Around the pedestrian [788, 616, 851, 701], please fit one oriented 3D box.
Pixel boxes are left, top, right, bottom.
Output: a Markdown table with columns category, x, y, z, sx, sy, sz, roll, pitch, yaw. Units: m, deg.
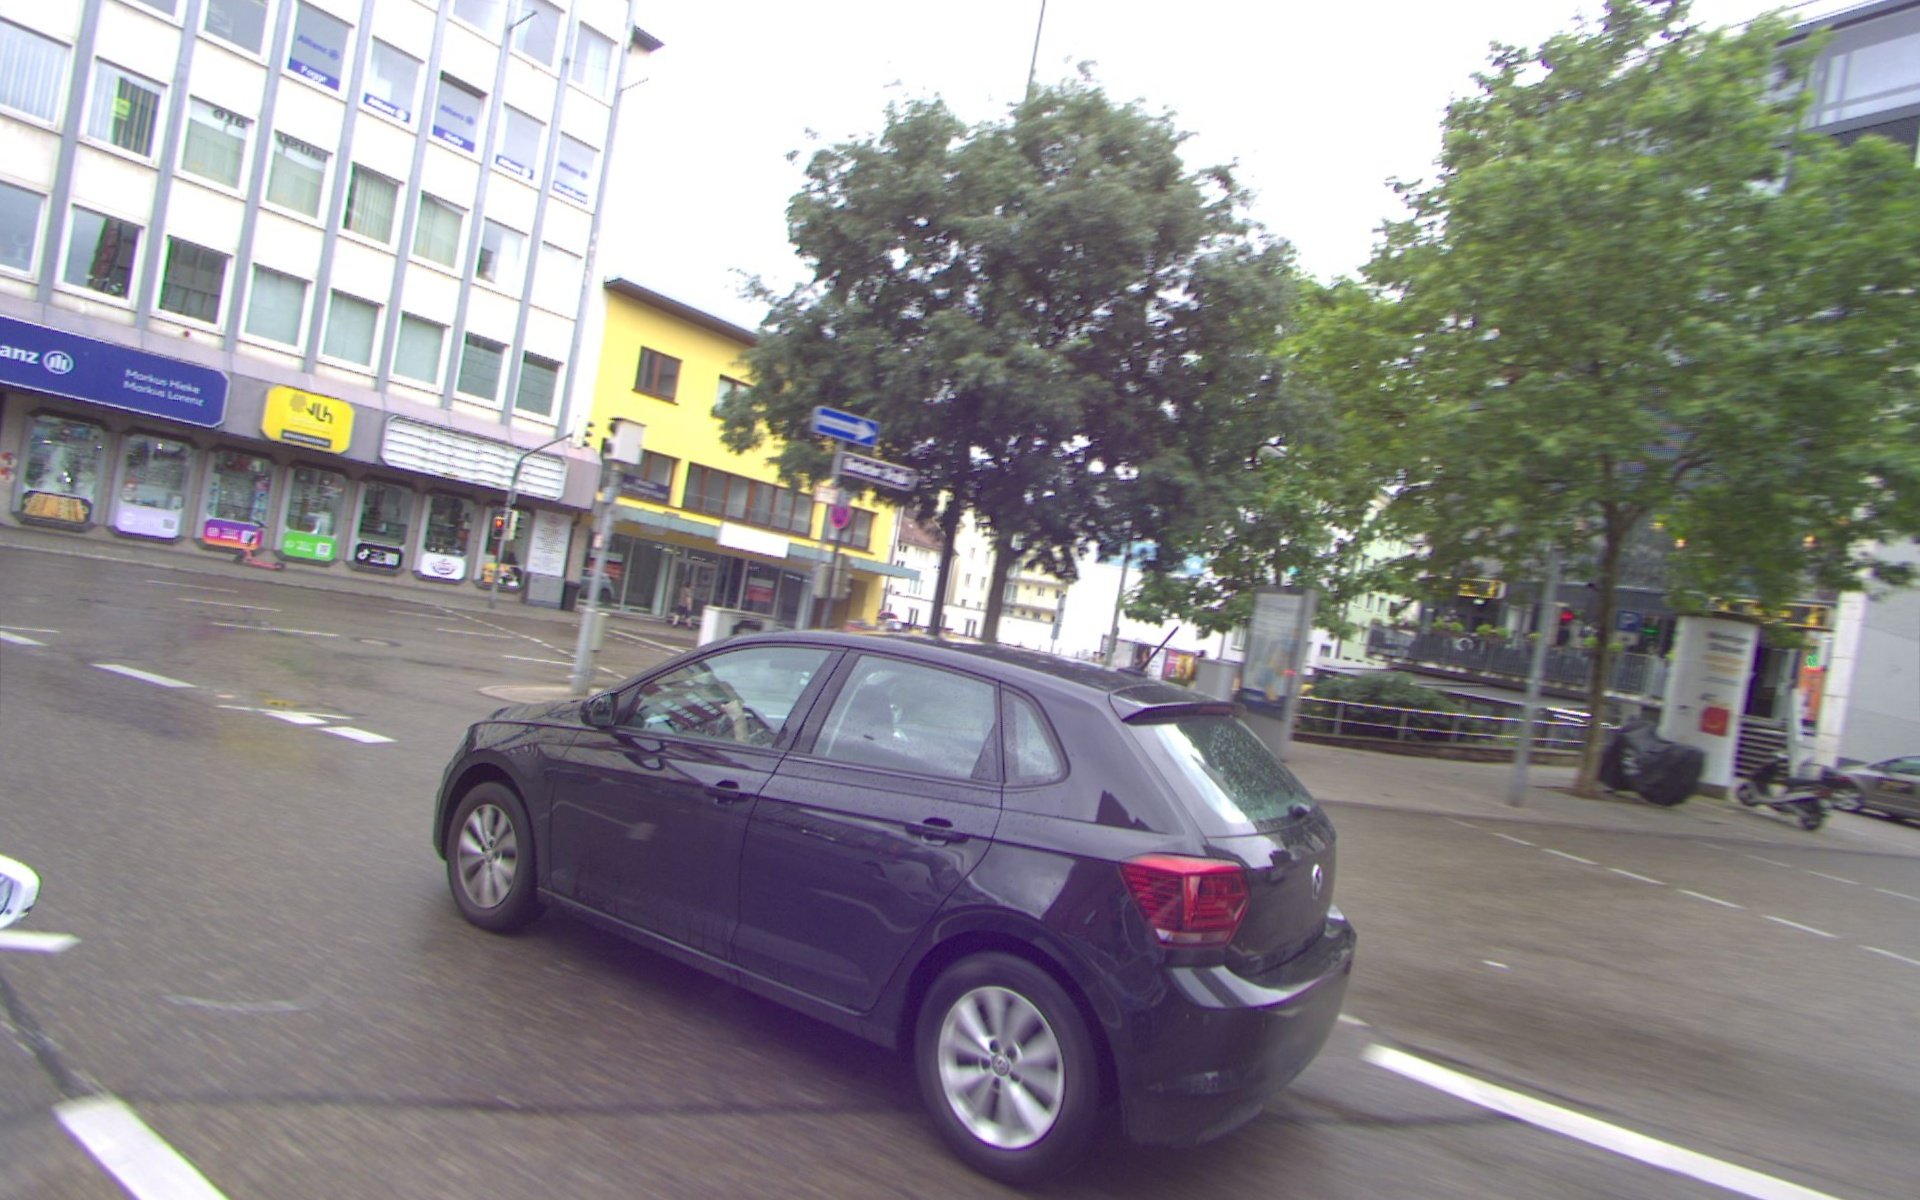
| category | x | y | z | sx | sy | sz | roll | pitch | yaw |
| --- | --- | --- | --- | --- | --- | --- | --- | --- | --- |
| pedestrian | -3.358 | 1.411 | 24.120 | 0.876 | 1.846 | 0.826 | 8 | -3 | 31 |

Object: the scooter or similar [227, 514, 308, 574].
| category | x | y | z | sx | sy | sz | roll | pitch | yaw |
| --- | --- | --- | --- | --- | --- | --- | --- | --- | --- |
| scooter or similar | -18.357 | -1.479 | 26.694 | 0.612 | 1.224 | 1.512 | 13 | 0 | 45 |

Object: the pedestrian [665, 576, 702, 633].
| category | x | y | z | sx | sy | sz | roll | pitch | yaw |
| --- | --- | --- | --- | --- | --- | --- | --- | --- | --- |
| pedestrian | -9.846 | 0.178 | 35.818 | 0.666 | 1.844 | 0.894 | 7 | -6 | 12 |

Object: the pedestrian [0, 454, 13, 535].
| category | x | y | z | sx | sy | sz | roll | pitch | yaw |
| --- | --- | --- | --- | --- | --- | --- | --- | --- | --- |
| pedestrian | -21.829 | -2.434 | 22.222 | 0.817 | 1.709 | 1.030 | 14 | 3 | 37 |

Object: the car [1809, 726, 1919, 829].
| category | x | y | z | sx | sy | sz | roll | pitch | yaw |
| --- | --- | --- | --- | --- | --- | --- | --- | --- | --- |
| car | 19.628 | 3.775 | 19.904 | 1.603 | 1.656 | 3.921 | 9 | 2 | -15 |

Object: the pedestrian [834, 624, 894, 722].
| category | x | y | z | sx | sy | sz | roll | pitch | yaw |
| --- | --- | --- | --- | --- | --- | --- | --- | --- | --- |
| pedestrian | -1.911 | 1.456 | 20.050 | 0.668 | 1.844 | 0.715 | 3 | -7 | 33 |

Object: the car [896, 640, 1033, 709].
| category | x | y | z | sx | sy | sz | roll | pitch | yaw |
| --- | --- | --- | --- | --- | --- | --- | --- | --- | --- |
| car | 0.199 | 2.380 | 31.680 | 1.804 | 1.429 | 4.185 | 13 | 0 | 43 |

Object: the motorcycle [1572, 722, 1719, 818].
| category | x | y | z | sx | sy | sz | roll | pitch | yaw |
| --- | --- | --- | --- | --- | --- | --- | --- | --- | --- |
| motorcycle | 11.440 | 2.815 | 16.885 | 0.620 | 1.131 | 1.933 | 8 | 2 | -17 |

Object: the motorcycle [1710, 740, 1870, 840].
| category | x | y | z | sx | sy | sz | roll | pitch | yaw |
| --- | --- | --- | --- | --- | --- | --- | --- | --- | --- |
| motorcycle | 13.842 | 3.140 | 16.877 | 0.618 | 1.131 | 2.087 | 8 | 2 | -6 |

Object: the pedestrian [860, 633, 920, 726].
| category | x | y | z | sx | sy | sz | roll | pitch | yaw |
| --- | --- | --- | --- | --- | --- | --- | --- | --- | --- |
| pedestrian | -1.353 | 1.542 | 19.477 | 0.668 | 1.692 | 0.715 | 3 | -7 | 32 |

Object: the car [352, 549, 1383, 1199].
| category | x | y | z | sx | sy | sz | roll | pitch | yaw |
| --- | --- | --- | --- | --- | --- | --- | --- | --- | --- |
| car | -0.561 | 0.798 | 4.195 | 3.935 | 1.493 | 1.692 | 6 | -4 | 33 |

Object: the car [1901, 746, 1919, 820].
| category | x | y | z | sx | sy | sz | roll | pitch | yaw |
| --- | --- | --- | --- | --- | --- | --- | --- | --- | --- |
| car | 22.232 | 4.239 | 20.746 | 1.600 | 1.573 | 3.834 | 7 | 2 | -7 |

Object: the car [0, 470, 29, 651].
| category | x | y | z | sx | sy | sz | roll | pitch | yaw |
| --- | --- | --- | --- | --- | --- | --- | --- | --- | --- |
| car | -11.434 | -0.708 | 9.465 | 4.421 | 1.715 | 1.905 | 8 | -1 | 18 |
